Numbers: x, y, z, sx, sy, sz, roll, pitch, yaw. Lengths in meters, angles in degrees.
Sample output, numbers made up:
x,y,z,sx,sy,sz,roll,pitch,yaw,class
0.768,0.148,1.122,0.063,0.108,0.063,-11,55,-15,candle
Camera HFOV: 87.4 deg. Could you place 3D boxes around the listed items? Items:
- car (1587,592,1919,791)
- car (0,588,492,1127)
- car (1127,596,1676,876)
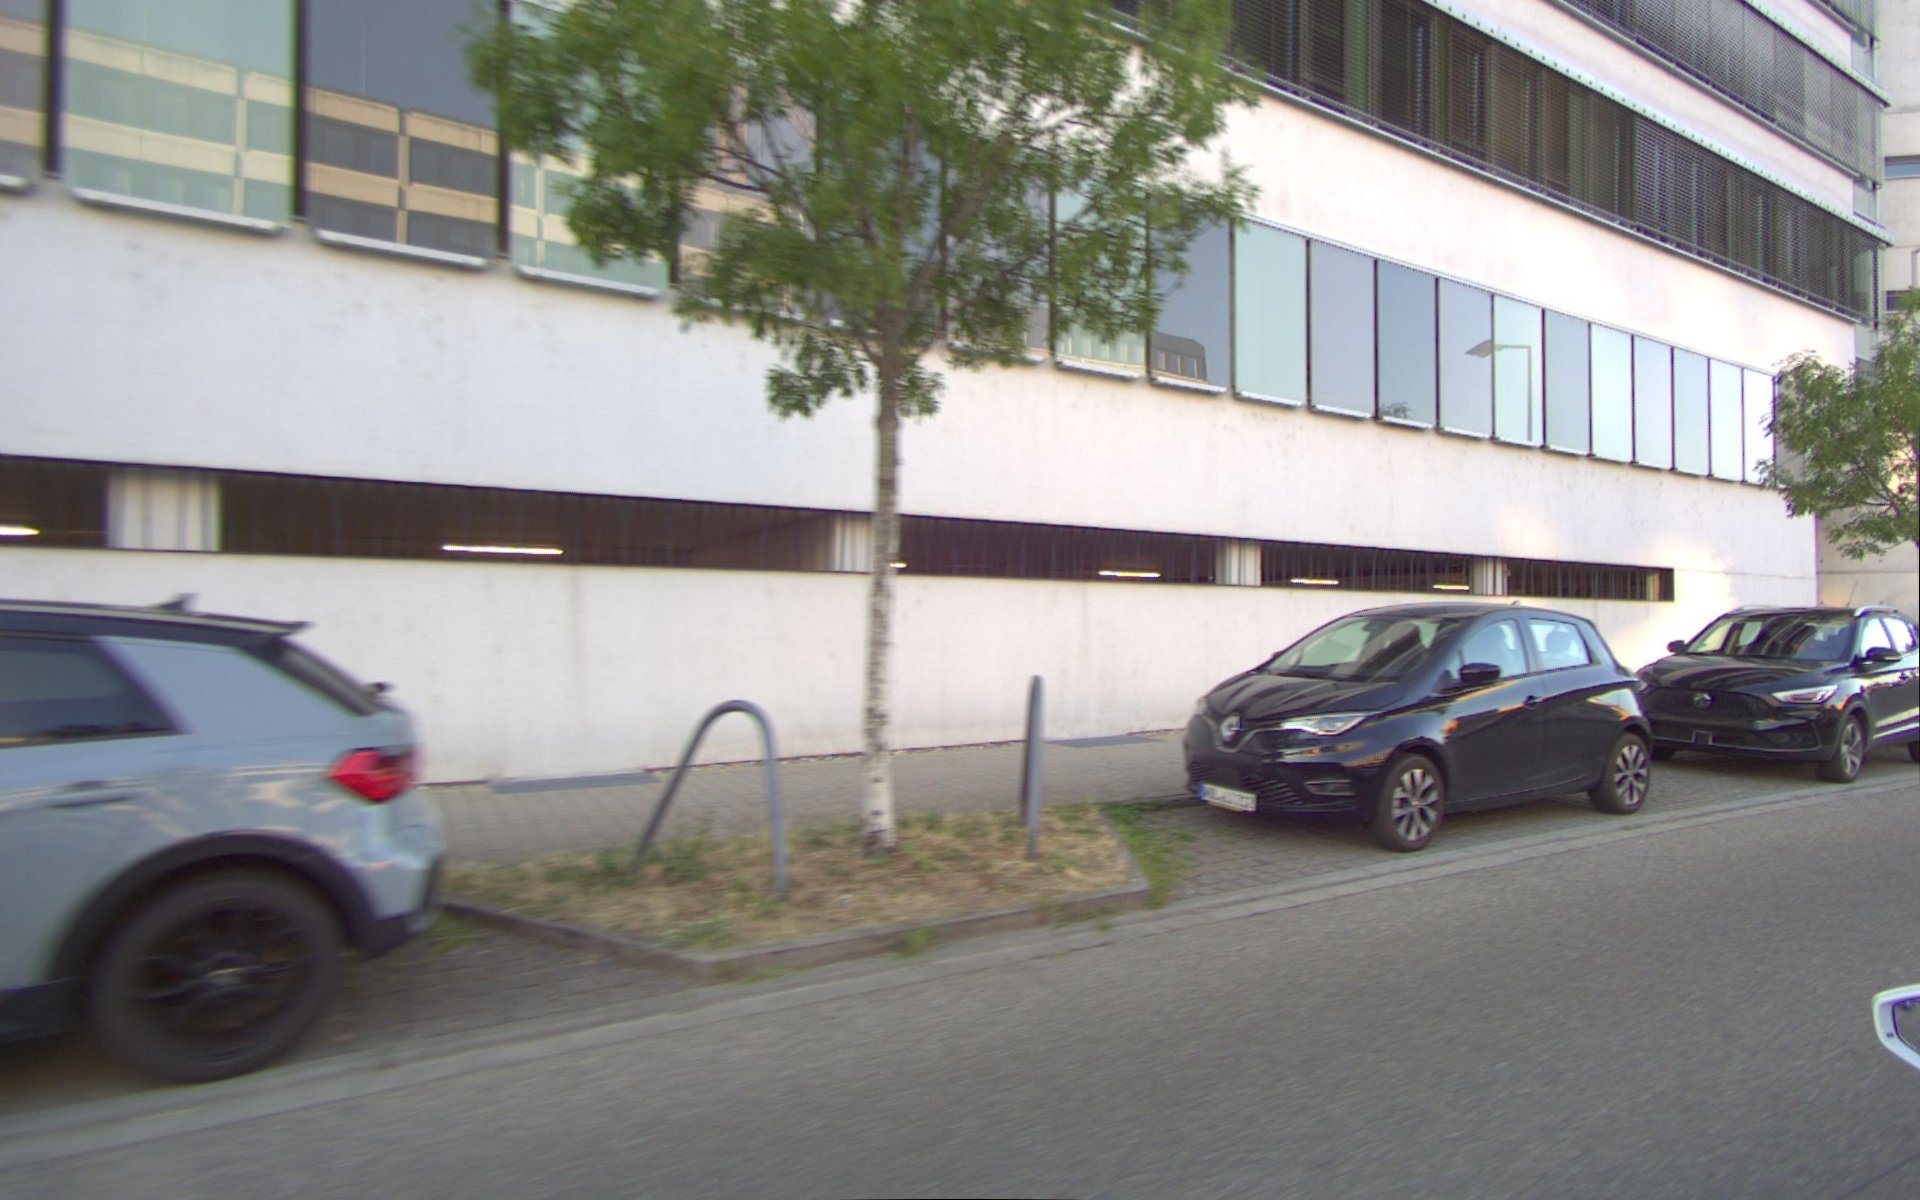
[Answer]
x,y,z,sx,sy,sz,roll,pitch,yaw,class
8.383,0.777,10.310,3.903,1.676,1.747,0,1,-31,car
-3.672,0.695,3.045,3.862,1.459,1.744,0,1,-35,car
3.367,0.782,7.509,3.995,1.582,1.747,0,1,-30,car
